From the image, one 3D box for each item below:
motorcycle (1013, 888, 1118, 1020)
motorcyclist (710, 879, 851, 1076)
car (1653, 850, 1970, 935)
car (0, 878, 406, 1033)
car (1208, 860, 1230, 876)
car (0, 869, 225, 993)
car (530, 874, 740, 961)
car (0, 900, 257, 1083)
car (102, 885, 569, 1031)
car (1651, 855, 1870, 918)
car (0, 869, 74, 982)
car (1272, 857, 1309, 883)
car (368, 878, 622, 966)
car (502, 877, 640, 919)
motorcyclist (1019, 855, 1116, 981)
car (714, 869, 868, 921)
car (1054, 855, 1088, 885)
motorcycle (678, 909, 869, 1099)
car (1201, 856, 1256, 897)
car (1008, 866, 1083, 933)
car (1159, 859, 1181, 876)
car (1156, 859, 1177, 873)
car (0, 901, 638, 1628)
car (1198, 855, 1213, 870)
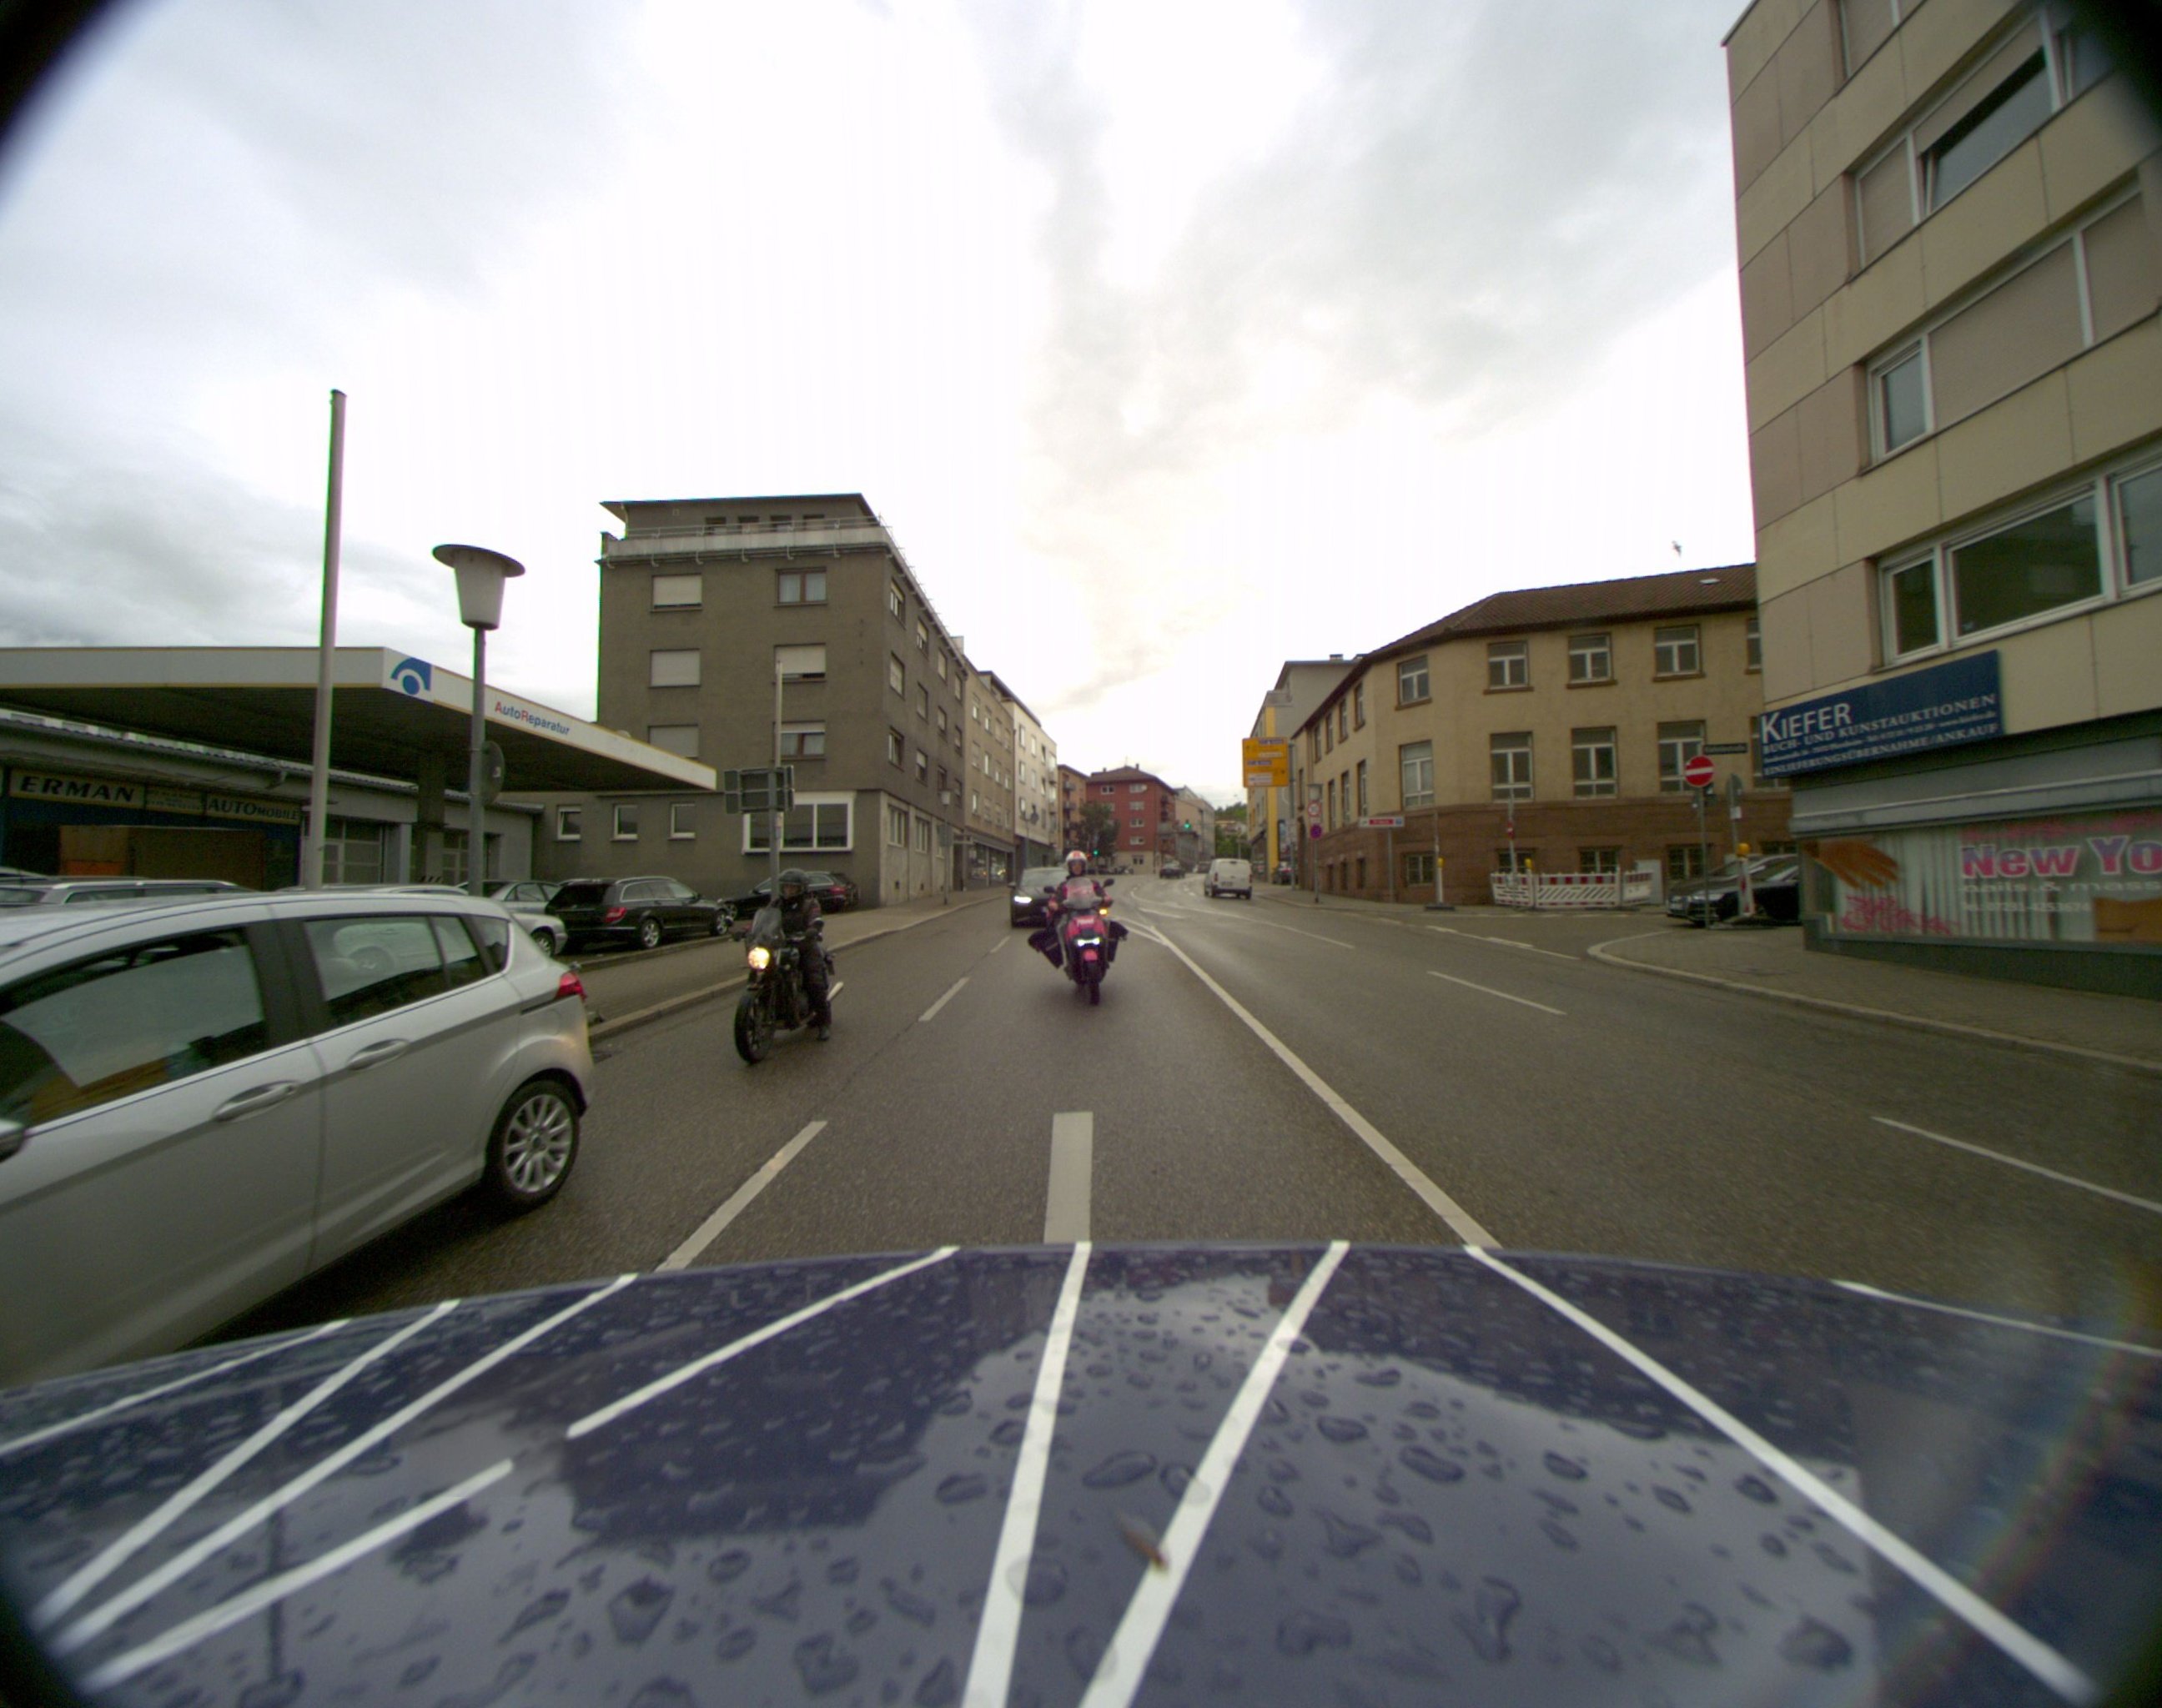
[{"bbox_3d":[-0.098,1.109,9.282,1.010,1.218,2.694,-4,0,3],"label":"motorcycle"},{"bbox_3d":[-2.683,1.058,6.903,0.847,1.580,0.962,-4,0,-4],"label":"motorcyclist"},{"bbox_3d":[14.547,0.757,15.407,4.358,1.495,1.755,-2,0,11],"label":"car"},{"bbox_3d":[-12.122,1.143,10.295,1.793,1.535,4.493,3,-2,2],"label":"car"},{"bbox_3d":[13.103,1.329,72.197,1.861,1.445,4.321,2,0,8],"label":"car"},{"bbox_3d":[-15.143,1.056,10.390,1.793,1.591,4.419,-1,0,2],"label":"car"},{"bbox_3d":[-9.354,1.256,16.451,1.793,1.503,4.438,-1,0,2],"label":"car"},{"bbox_3d":[-10.401,1.204,6.675,4.002,1.392,1.669,-1,0,-13],"label":"car"},{"bbox_3d":[-9.691,1.227,10.582,1.792,1.407,4.616,0,0,3],"label":"car"},{"bbox_3d":[17.450,0.862,19.731,3.806,1.457,1.756,-2,-3,14],"label":"car"},{"bbox_3d":[-17.455,1.113,10.483,1.793,1.720,3.949,-1,0,2],"label":"car"},{"bbox_3d":[13.417,1.005,48.846,1.861,1.445,3.966,-4,-1,10],"label":"car"},{"bbox_3d":[-12.042,1.316,16.083,1.793,1.502,4.420,3,-2,2],"label":"car"},{"bbox_3d":[-18.285,1.576,27.354,3.751,1.445,1.795,0,-2,3],"label":"car"},{"bbox_3d":[-0.133,0.729,9.003,1.010,1.373,0.835,-4,0,3],"label":"motorcyclist"},{"bbox_3d":[-9.997,1.401,26.424,4.531,1.495,2.001,-3,0,5],"label":"car"},{"bbox_3d":[-0.612,1.039,50.301,1.848,1.892,3.766,-1,0,4],"label":"car"},{"bbox_3d":[-2.654,1.215,6.937,0.847,1.218,2.372,-4,0,-4],"label":"motorcycle"},{"bbox_3d":[6.928,1.008,36.048,1.866,1.793,4.266,0,0,2],"label":"car"},{"bbox_3d":[-0.937,1.107,20.108,1.706,1.451,4.317,-3,0,-3],"label":"car"},{"bbox_3d":[8.179,1.208,69.449,1.861,1.445,4.321,0,0,8],"label":"car"},{"bbox_3d":[9.314,1.256,82.487,1.860,1.445,4.322,0,0,11],"label":"car"},{"bbox_3d":[-3.494,1.097,2.323,1.831,1.532,4.251,-4,0,-3],"label":"car"},{"bbox_3d":[16.598,1.101,101.419,1.847,1.892,3.768,-1,0,11],"label":"car"}]
